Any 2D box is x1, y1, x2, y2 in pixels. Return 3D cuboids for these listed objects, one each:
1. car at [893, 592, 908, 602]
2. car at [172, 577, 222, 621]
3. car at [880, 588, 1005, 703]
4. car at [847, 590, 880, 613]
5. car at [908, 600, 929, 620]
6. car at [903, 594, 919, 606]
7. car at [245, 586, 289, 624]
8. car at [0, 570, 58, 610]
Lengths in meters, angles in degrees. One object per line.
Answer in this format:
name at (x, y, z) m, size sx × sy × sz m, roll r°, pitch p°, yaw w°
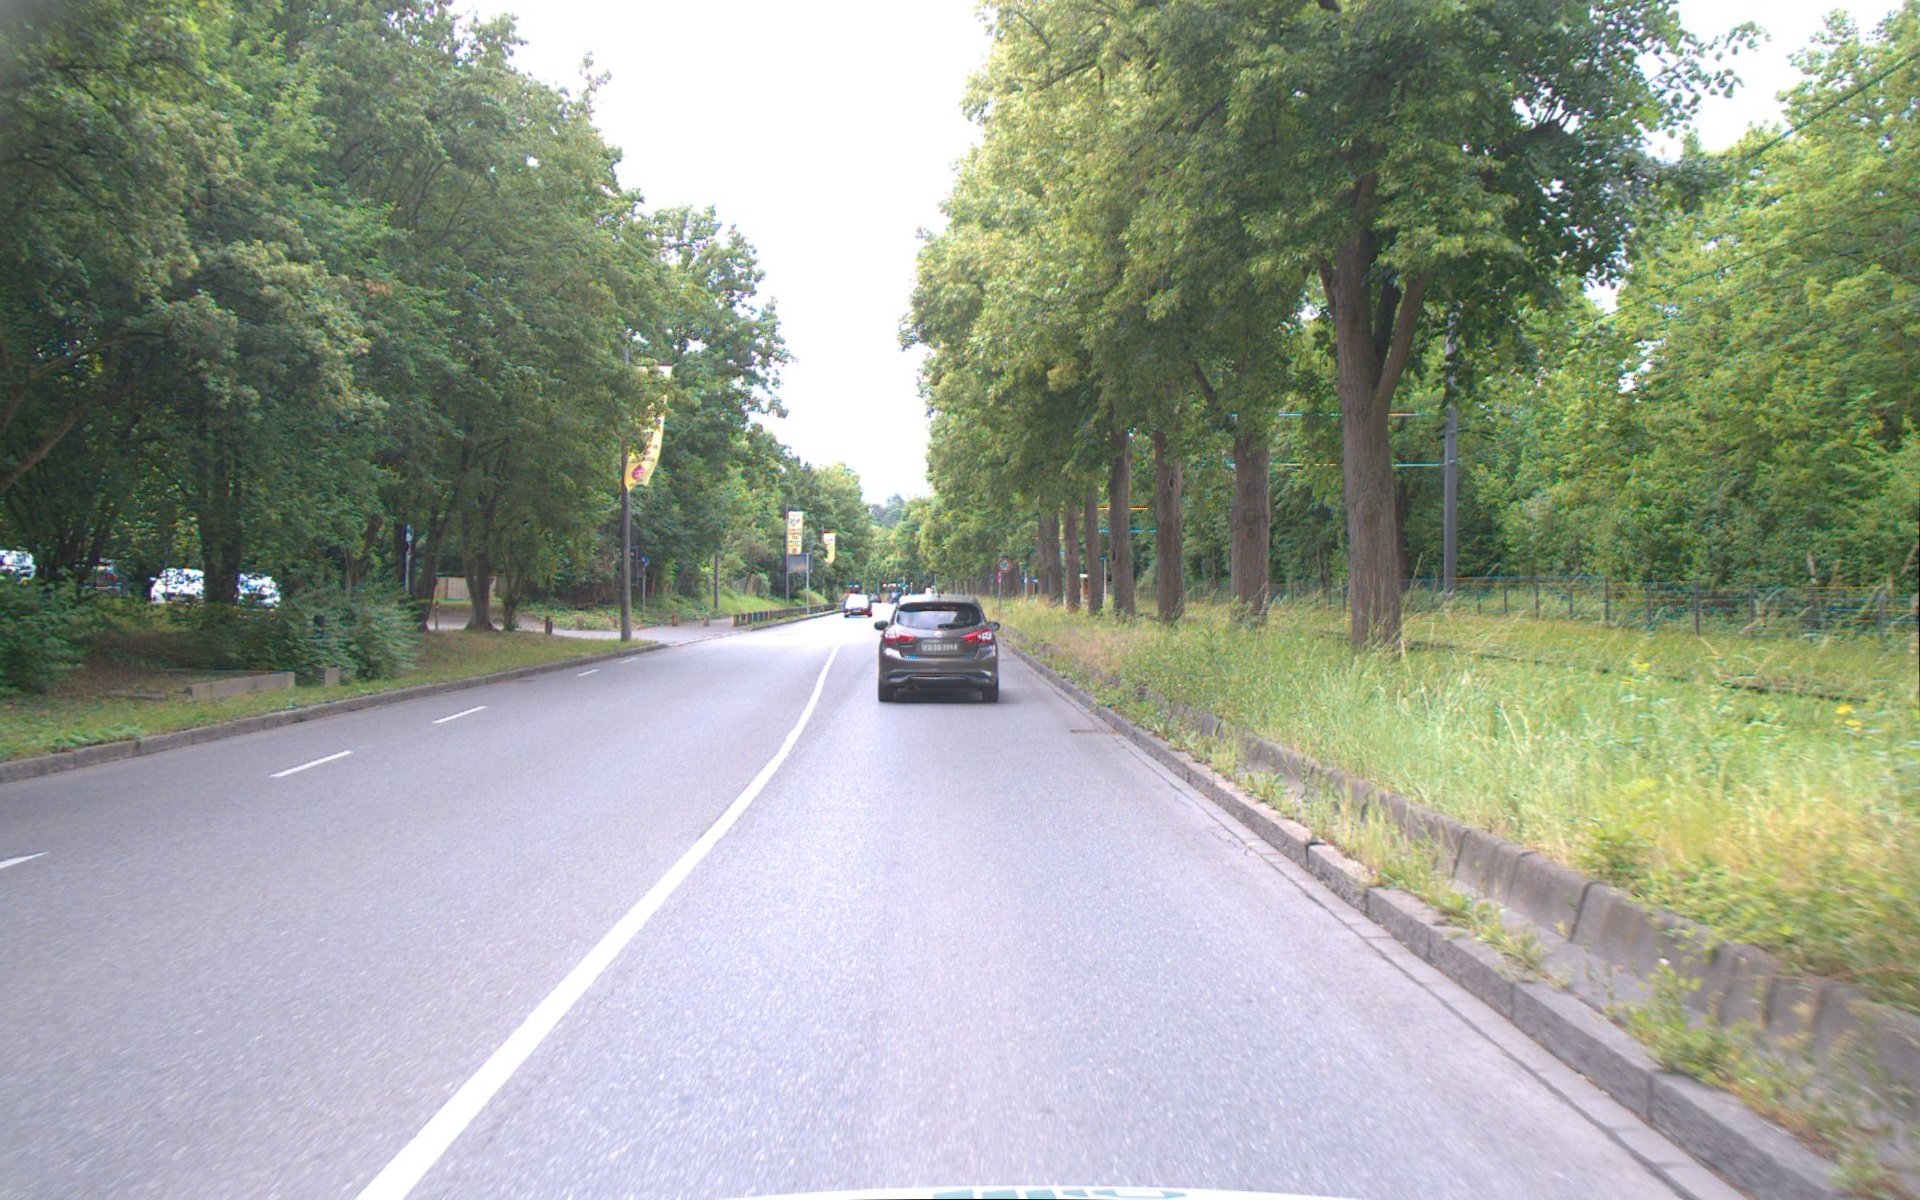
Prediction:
car at (-8.621, -0.429, 238.594) m, size 1.535 × 1.466 × 3.539 m, roll 1°, pitch 0°, yaw -14°
car at (-26.458, -0.054, 57.409) m, size 1.352 × 1.426 × 3.050 m, roll 3°, pitch -1°, yaw -22°
car at (-0.293, 0.627, 24.742) m, size 1.695 × 1.564 × 3.550 m, roll 1°, pitch 0°, yaw -2°
car at (-6.285, 0.091, 107.652) m, size 1.680 × 1.453 × 4.198 m, roll -2°, pitch 0°, yaw 3°
car at (-3.297, 0.775, 130.615) m, size 1.529 × 1.466 × 3.551 m, roll 1°, pitch 0°, yaw 0°
car at (-6.267, 0.017, 210.393) m, size 1.533 × 1.466 × 3.542 m, roll 1°, pitch 0°, yaw -11°
car at (-24.582, 0.174, 58.697) m, size 1.352 × 1.260 × 3.050 m, roll 3°, pitch -1°, yaw -22°
car at (-31.034, -0.328, 55.186) m, size 1.245 × 1.233 × 3.050 m, roll 3°, pitch -1°, yaw -22°
